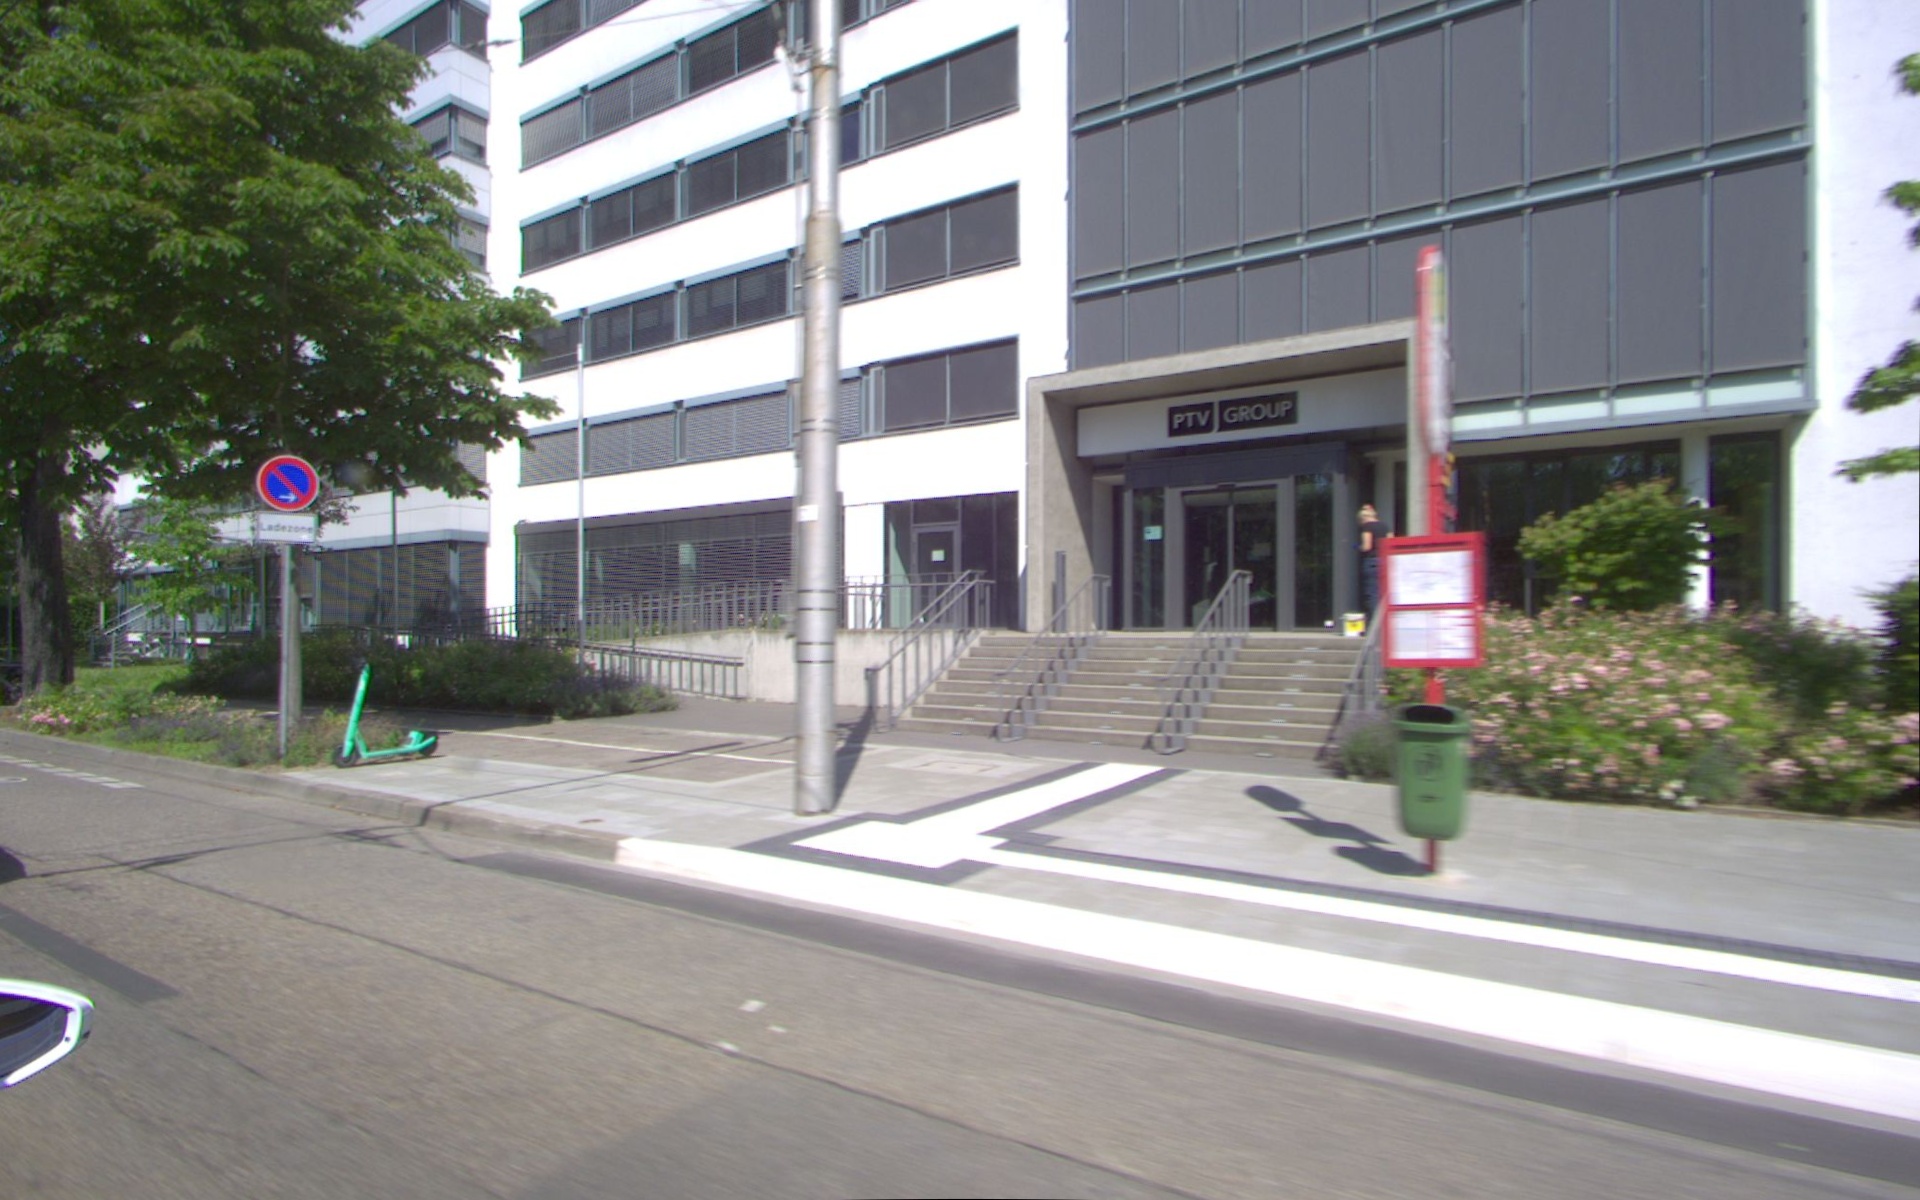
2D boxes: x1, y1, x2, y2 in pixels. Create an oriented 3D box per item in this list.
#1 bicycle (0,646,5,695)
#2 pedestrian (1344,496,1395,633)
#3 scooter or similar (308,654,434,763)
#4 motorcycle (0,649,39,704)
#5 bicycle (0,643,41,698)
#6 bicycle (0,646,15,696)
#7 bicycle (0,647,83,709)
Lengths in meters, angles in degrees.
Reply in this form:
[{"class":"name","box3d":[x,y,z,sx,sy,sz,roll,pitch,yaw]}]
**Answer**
[{"class":"bicycle","box3d":[-22.028,1.507,21.620,0.542,1.096,1.910,0,-4,31]},{"class":"pedestrian","box3d":[5.418,-0.447,13.244,0.539,1.750,0.497,0,-1,33]},{"class":"scooter or similar","box3d":[-6.773,1.221,11.546,0.487,1.169,1.138,-1,-2,39]},{"class":"motorcycle","box3d":[-19.205,1.509,19.734,0.527,1.059,1.463,0,-1,31]},{"class":"bicycle","box3d":[-20.370,1.472,20.827,0.588,1.134,1.771,0,-1,31]},{"class":"bicycle","box3d":[-21.515,1.506,21.324,0.542,1.096,1.910,0,-3,31]},{"class":"bicycle","box3d":[-17.462,1.431,18.523,0.588,1.097,1.771,0,-1,31]}]
